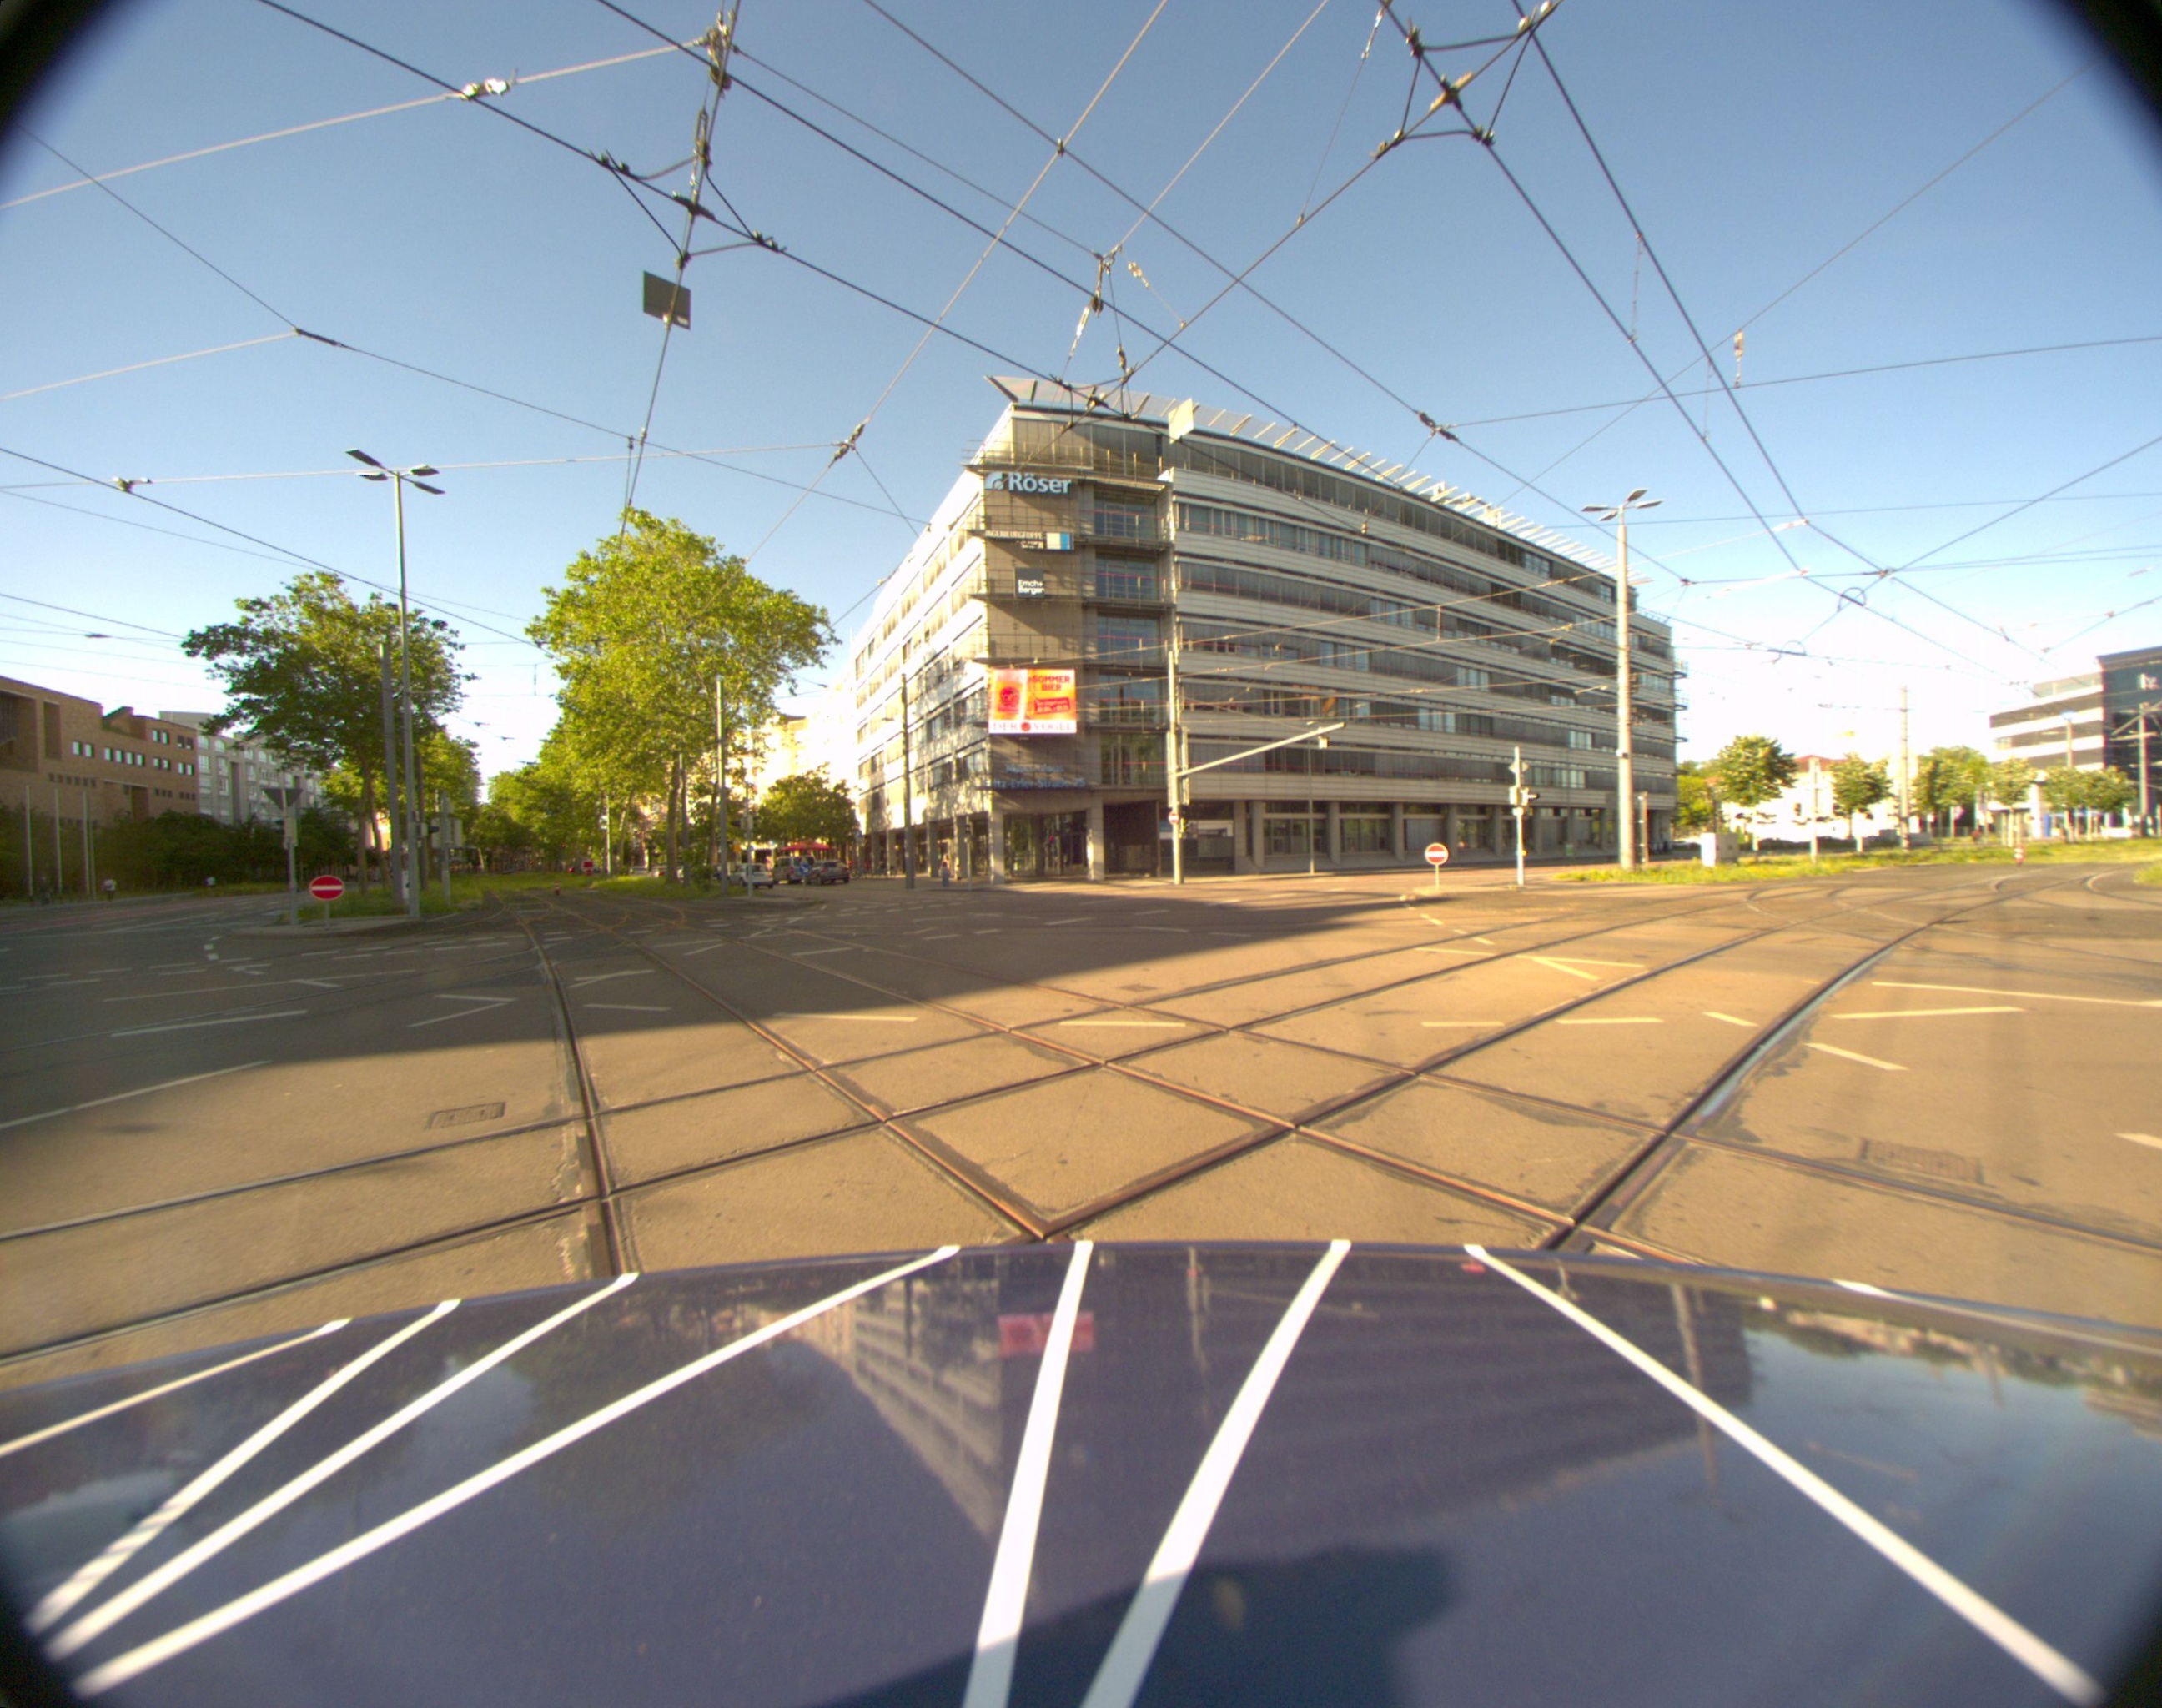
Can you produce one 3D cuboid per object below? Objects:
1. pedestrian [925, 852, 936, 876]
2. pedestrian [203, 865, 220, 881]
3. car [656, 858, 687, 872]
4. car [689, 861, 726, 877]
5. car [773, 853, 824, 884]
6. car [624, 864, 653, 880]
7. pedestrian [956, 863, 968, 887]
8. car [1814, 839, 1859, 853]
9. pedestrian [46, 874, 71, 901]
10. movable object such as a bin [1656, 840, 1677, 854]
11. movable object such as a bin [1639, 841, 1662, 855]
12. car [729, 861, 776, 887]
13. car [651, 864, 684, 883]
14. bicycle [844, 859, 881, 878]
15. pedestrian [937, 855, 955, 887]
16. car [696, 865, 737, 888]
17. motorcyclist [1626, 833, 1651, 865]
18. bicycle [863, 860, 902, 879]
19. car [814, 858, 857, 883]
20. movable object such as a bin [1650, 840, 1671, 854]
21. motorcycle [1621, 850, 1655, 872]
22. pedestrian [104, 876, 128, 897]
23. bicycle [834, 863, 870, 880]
[{"bbox_3d":[-10.848,0.714,54.843,0.587,1.723,0.792,-2,0,-21],"label":"pedestrian"},{"bbox_3d":[-77.975,1.714,68.138,0.814,1.376,0.685,-2,1,-37],"label":"pedestrian"},{"bbox_3d":[-45.437,1.265,84.264,1.871,1.466,3.966,-2,1,-45],"label":"car"},{"bbox_3d":[-34.781,1.369,70.649,1.871,1.466,3.966,-2,1,-45],"label":"car"},{"bbox_3d":[-19.368,0.943,52.002,1.871,2.004,4.445,-2,1,-40],"label":"car"},{"bbox_3d":[-42.617,1.693,73.140,1.704,1.466,3.971,-2,1,-40],"label":"car"},{"bbox_3d":[-6.000,1.047,38.384,0.444,1.203,0.461,-1,0,-33],"label":"pedestrian"},{"bbox_3d":[87.802,-0.963,88.367,1.738,1.523,3.803,-1,0,7],"label":"car"},{"bbox_3d":[-60.925,1.982,45.287,0.685,1.596,0.814,0,1,38],"label":"pedestrian"},{"bbox_3d":[55.664,-0.632,72.223,1.331,1.293,1.171,-2,1,-29],"label":"movable object such as a bin"},{"bbox_3d":[52.077,-0.556,69.450,1.176,1.293,1.326,-2,1,-29],"label":"movable object such as a bin"},{"bbox_3d":[-18.300,1.100,42.266,1.669,1.380,3.527,0,-1,-37],"label":"car"},{"bbox_3d":[-34.438,1.612,63.243,1.703,1.432,4.008,-2,0,-38],"label":"car"},{"bbox_3d":[-14.957,0.992,52.055,0.773,1.206,2.400,-1,-1,43],"label":"bicycle"},{"bbox_3d":[-6.857,0.864,38.585,0.662,1.631,0.791,-1,0,-33],"label":"pedestrian"},{"bbox_3d":[-25.553,1.522,53.227,1.870,1.466,3.967,-2,1,-36],"label":"car"},{"bbox_3d":[32.457,-0.316,44.245,1.114,1.847,0.819,-2,2,-32],"label":"motorcyclist"},{"bbox_3d":[-13.388,1.055,51.330,2.398,1.206,0.773,-1,0,-26],"label":"bicycle"},{"bbox_3d":[-15.500,1.012,47.865,1.870,1.466,3.968,-1,1,-27],"label":"car"},{"bbox_3d":[54.644,-0.623,71.646,1.331,1.293,1.171,-2,1,-29],"label":"movable object such as a bin"},{"bbox_3d":[32.421,0.378,44.238,2.259,1.214,0.819,-2,2,-32],"label":"motorcycle"},{"bbox_3d":[-66.087,2.228,52.046,0.814,1.376,0.685,-2,1,-37],"label":"pedestrian"},{"bbox_3d":[-16.484,1.238,54.713,0.773,1.206,2.400,-1,-1,43],"label":"bicycle"}]
